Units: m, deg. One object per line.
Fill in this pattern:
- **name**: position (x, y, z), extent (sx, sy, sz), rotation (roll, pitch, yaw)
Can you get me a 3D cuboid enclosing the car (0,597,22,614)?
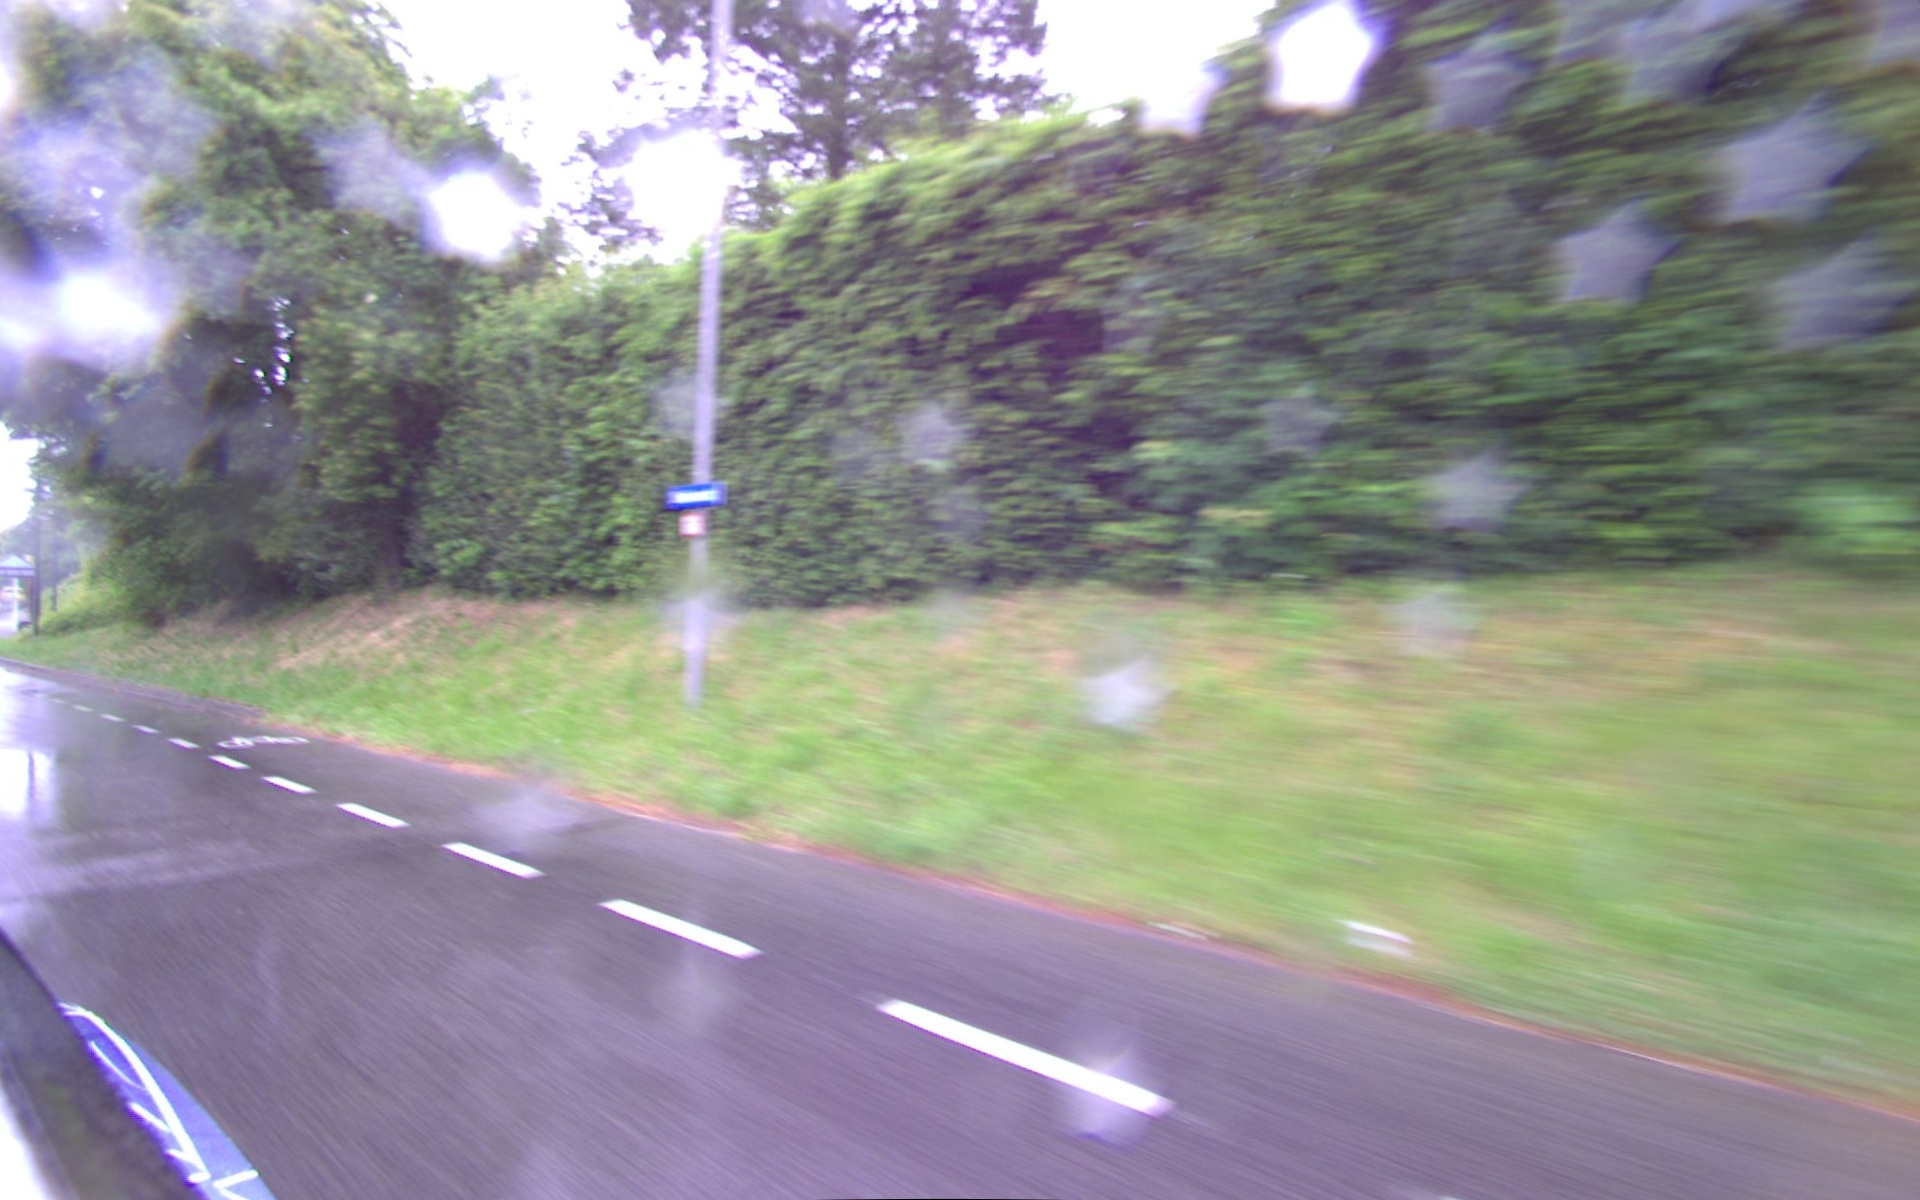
- **car**: position (-85.178, 0.471, 90.583), extent (1.552, 1.421, 3.480), rotation (3, -2, -40)
